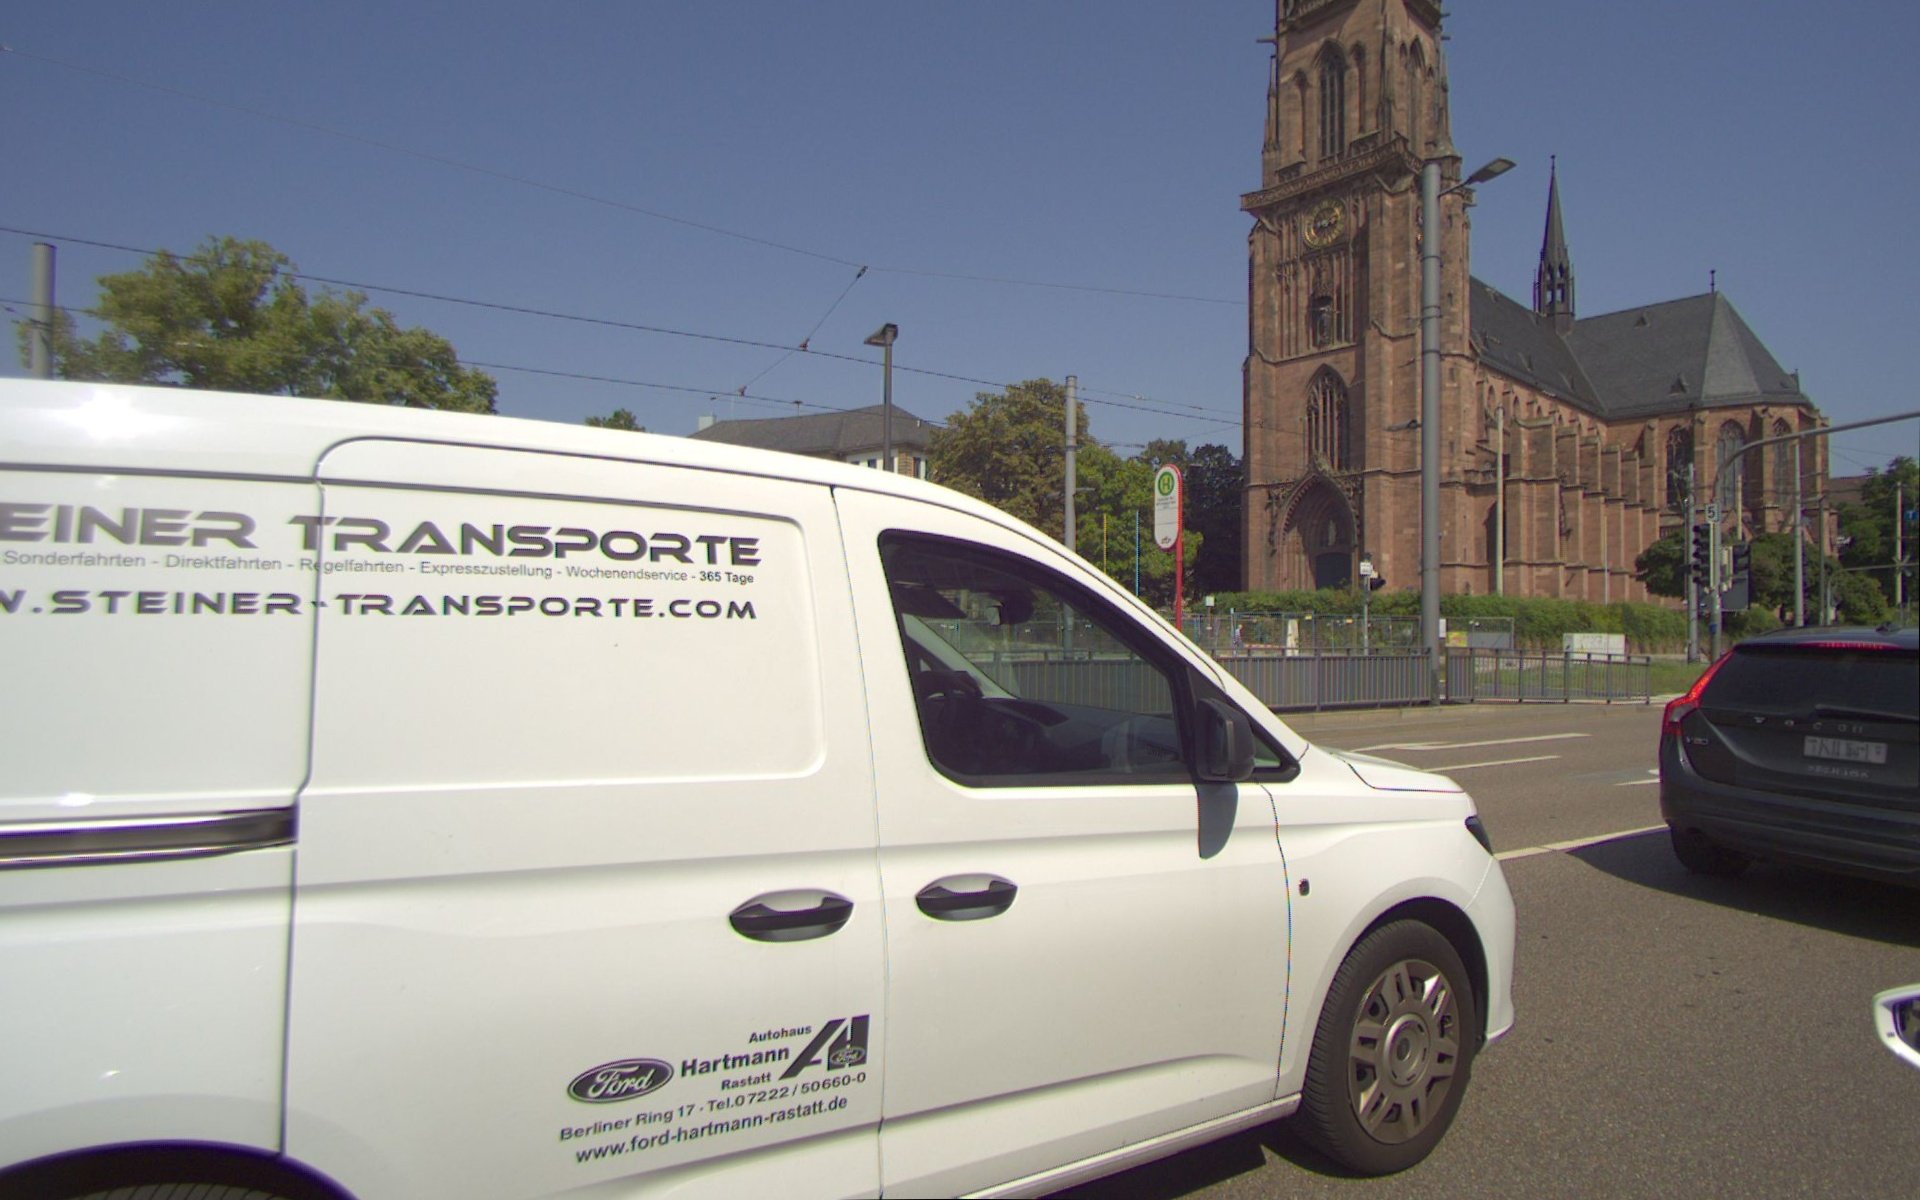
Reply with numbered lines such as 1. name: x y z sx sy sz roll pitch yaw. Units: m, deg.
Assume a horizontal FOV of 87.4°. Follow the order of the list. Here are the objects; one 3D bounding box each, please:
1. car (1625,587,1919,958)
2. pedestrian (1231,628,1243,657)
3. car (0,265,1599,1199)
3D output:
1. car: 5.916 0.798 5.819 4.257 1.636 1.739 1 0 -30
2. pedestrian: 14.530 2.226 52.778 0.533 1.551 0.436 0 -1 5
3. car: -0.325 0.549 2.712 4.189 1.844 1.739 1 -1 -30
